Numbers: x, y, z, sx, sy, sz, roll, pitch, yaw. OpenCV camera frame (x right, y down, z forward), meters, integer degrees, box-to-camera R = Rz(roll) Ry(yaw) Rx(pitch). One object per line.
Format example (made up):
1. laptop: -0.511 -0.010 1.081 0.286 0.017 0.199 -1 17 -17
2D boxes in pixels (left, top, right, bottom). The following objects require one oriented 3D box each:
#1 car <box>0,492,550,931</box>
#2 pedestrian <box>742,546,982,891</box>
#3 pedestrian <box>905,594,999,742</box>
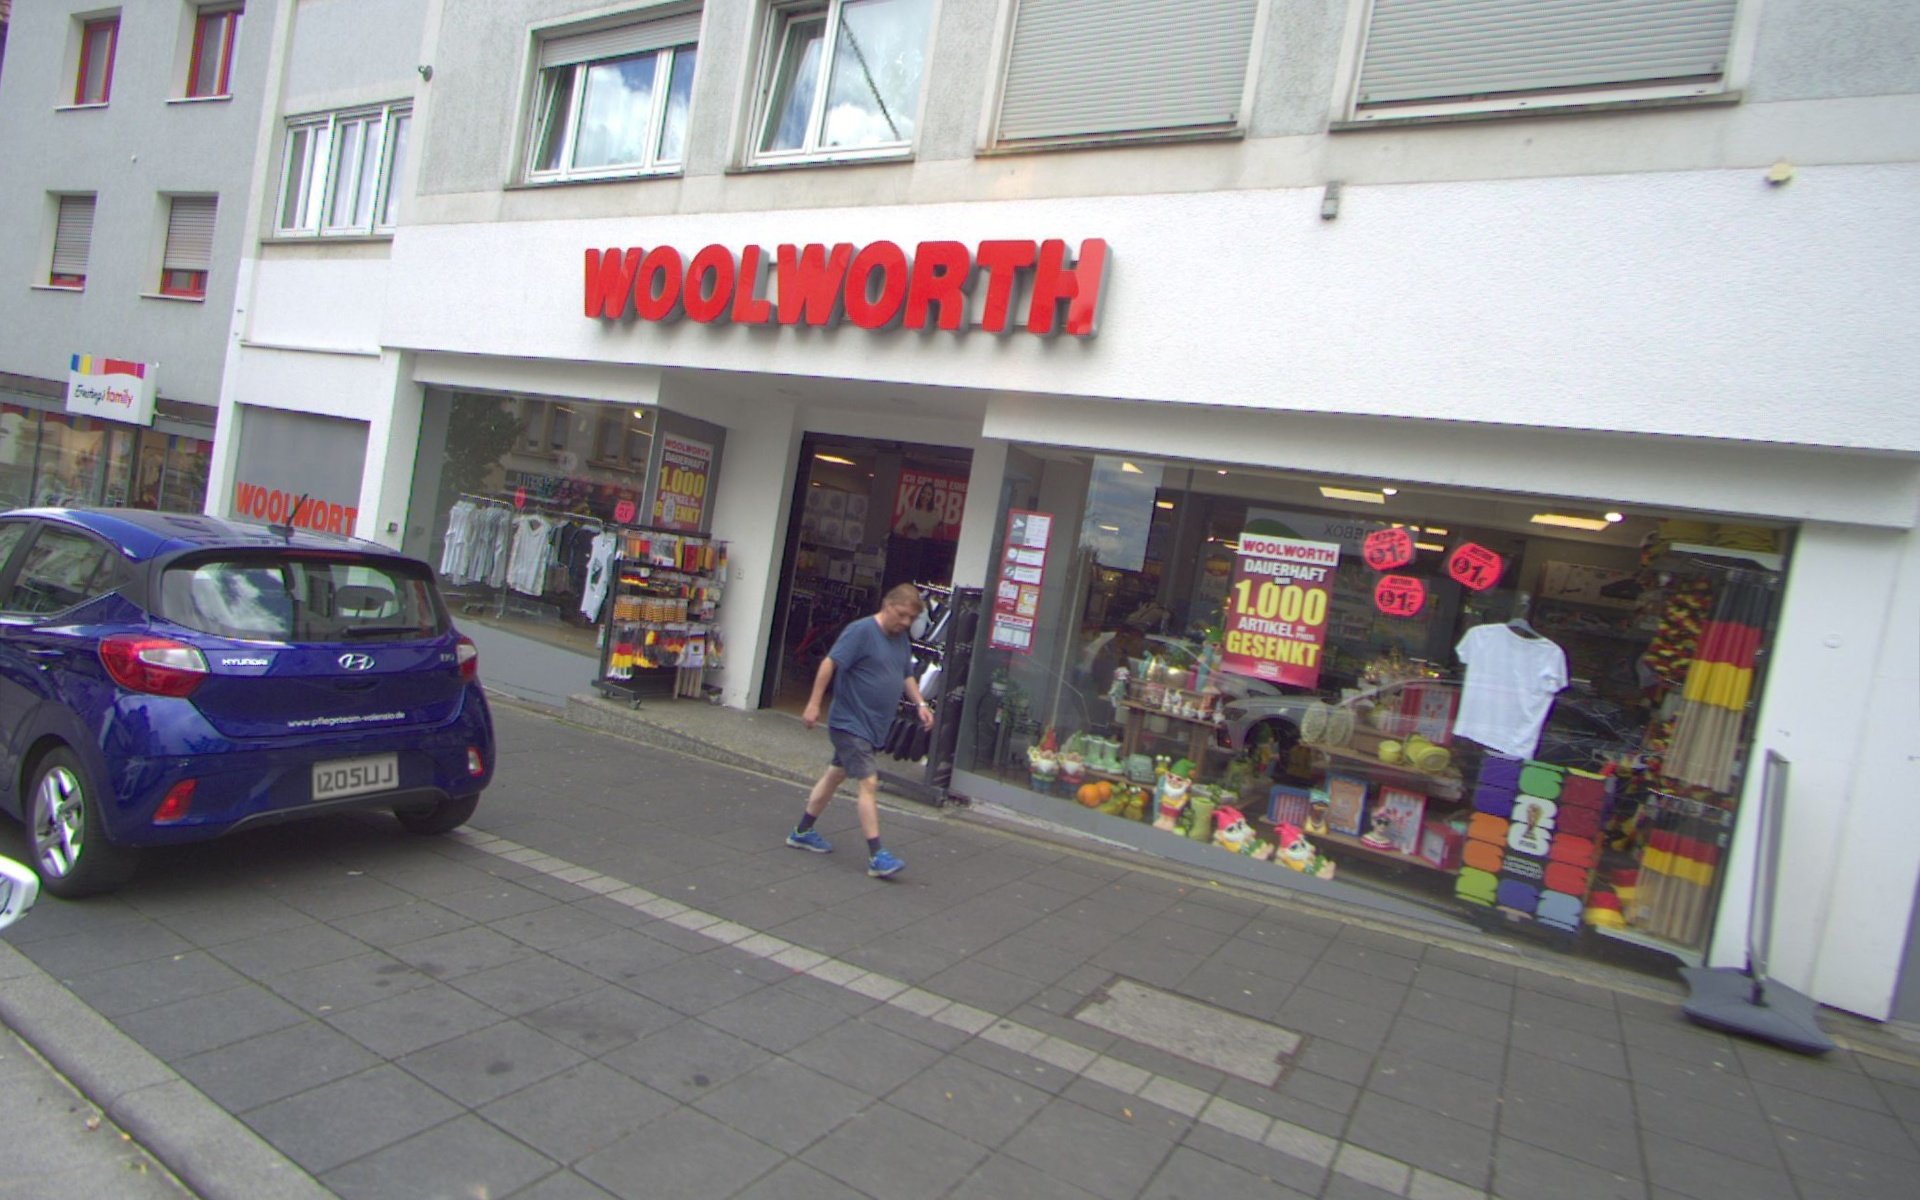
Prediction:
1. car: -4.176 0.281 5.162 3.733 1.517 1.750 5 2 27
2. pedestrian: -0.501 0.578 5.298 0.803 1.580 0.757 7 1 29
3. pedestrian: -0.071 0.624 9.385 0.578 1.281 0.505 7 1 27
